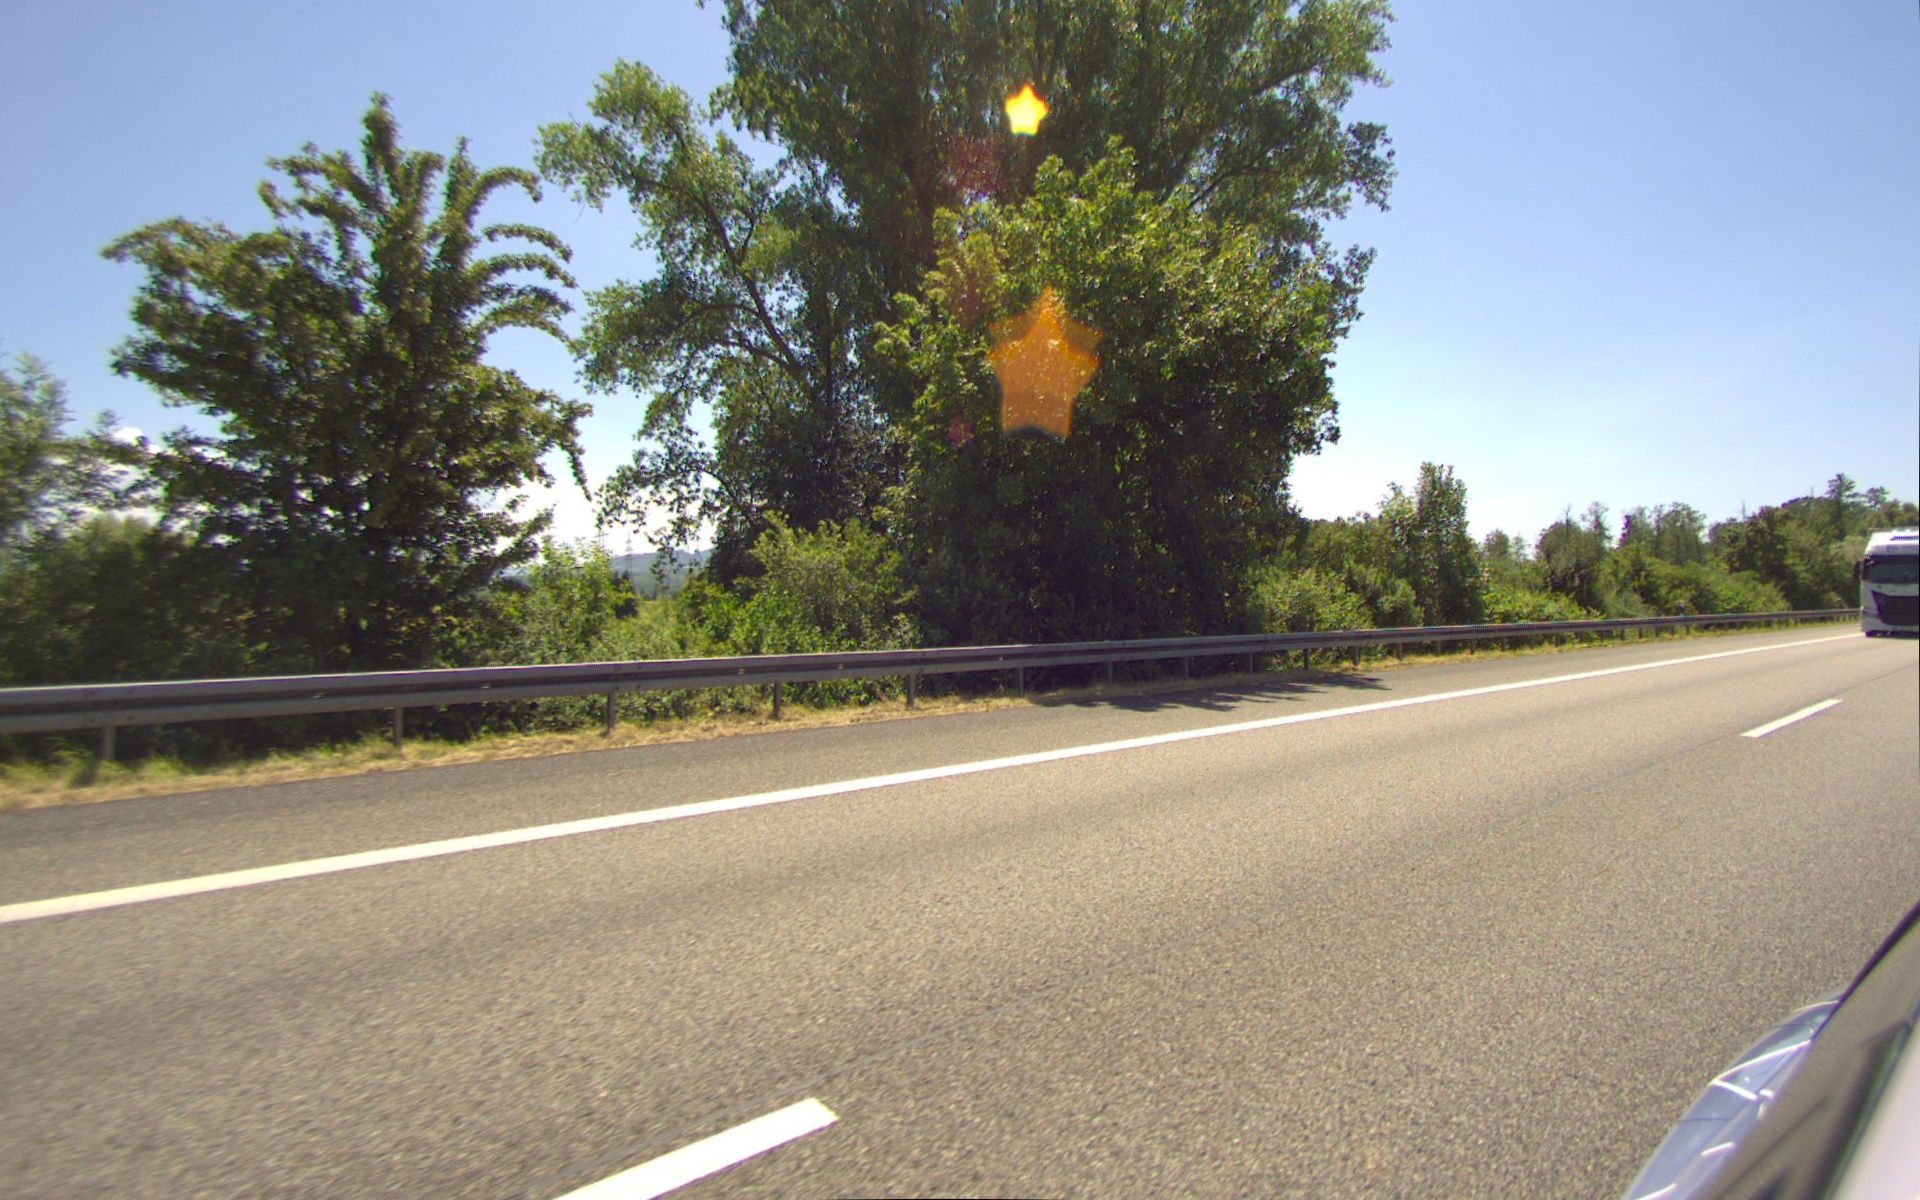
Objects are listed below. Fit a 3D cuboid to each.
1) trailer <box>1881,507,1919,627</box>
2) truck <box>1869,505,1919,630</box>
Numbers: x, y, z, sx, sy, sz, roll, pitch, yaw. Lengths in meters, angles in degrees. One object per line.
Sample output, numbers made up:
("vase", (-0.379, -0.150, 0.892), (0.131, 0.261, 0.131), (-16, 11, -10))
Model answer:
("trailer", (41.724, -1.304, 42.518), (13.907, 4.528, 2.541), (-1, 1, -40))
("truck", (36.619, -1.195, 38.280), (5.473, 4.528, 2.541), (0, 0, -39))
